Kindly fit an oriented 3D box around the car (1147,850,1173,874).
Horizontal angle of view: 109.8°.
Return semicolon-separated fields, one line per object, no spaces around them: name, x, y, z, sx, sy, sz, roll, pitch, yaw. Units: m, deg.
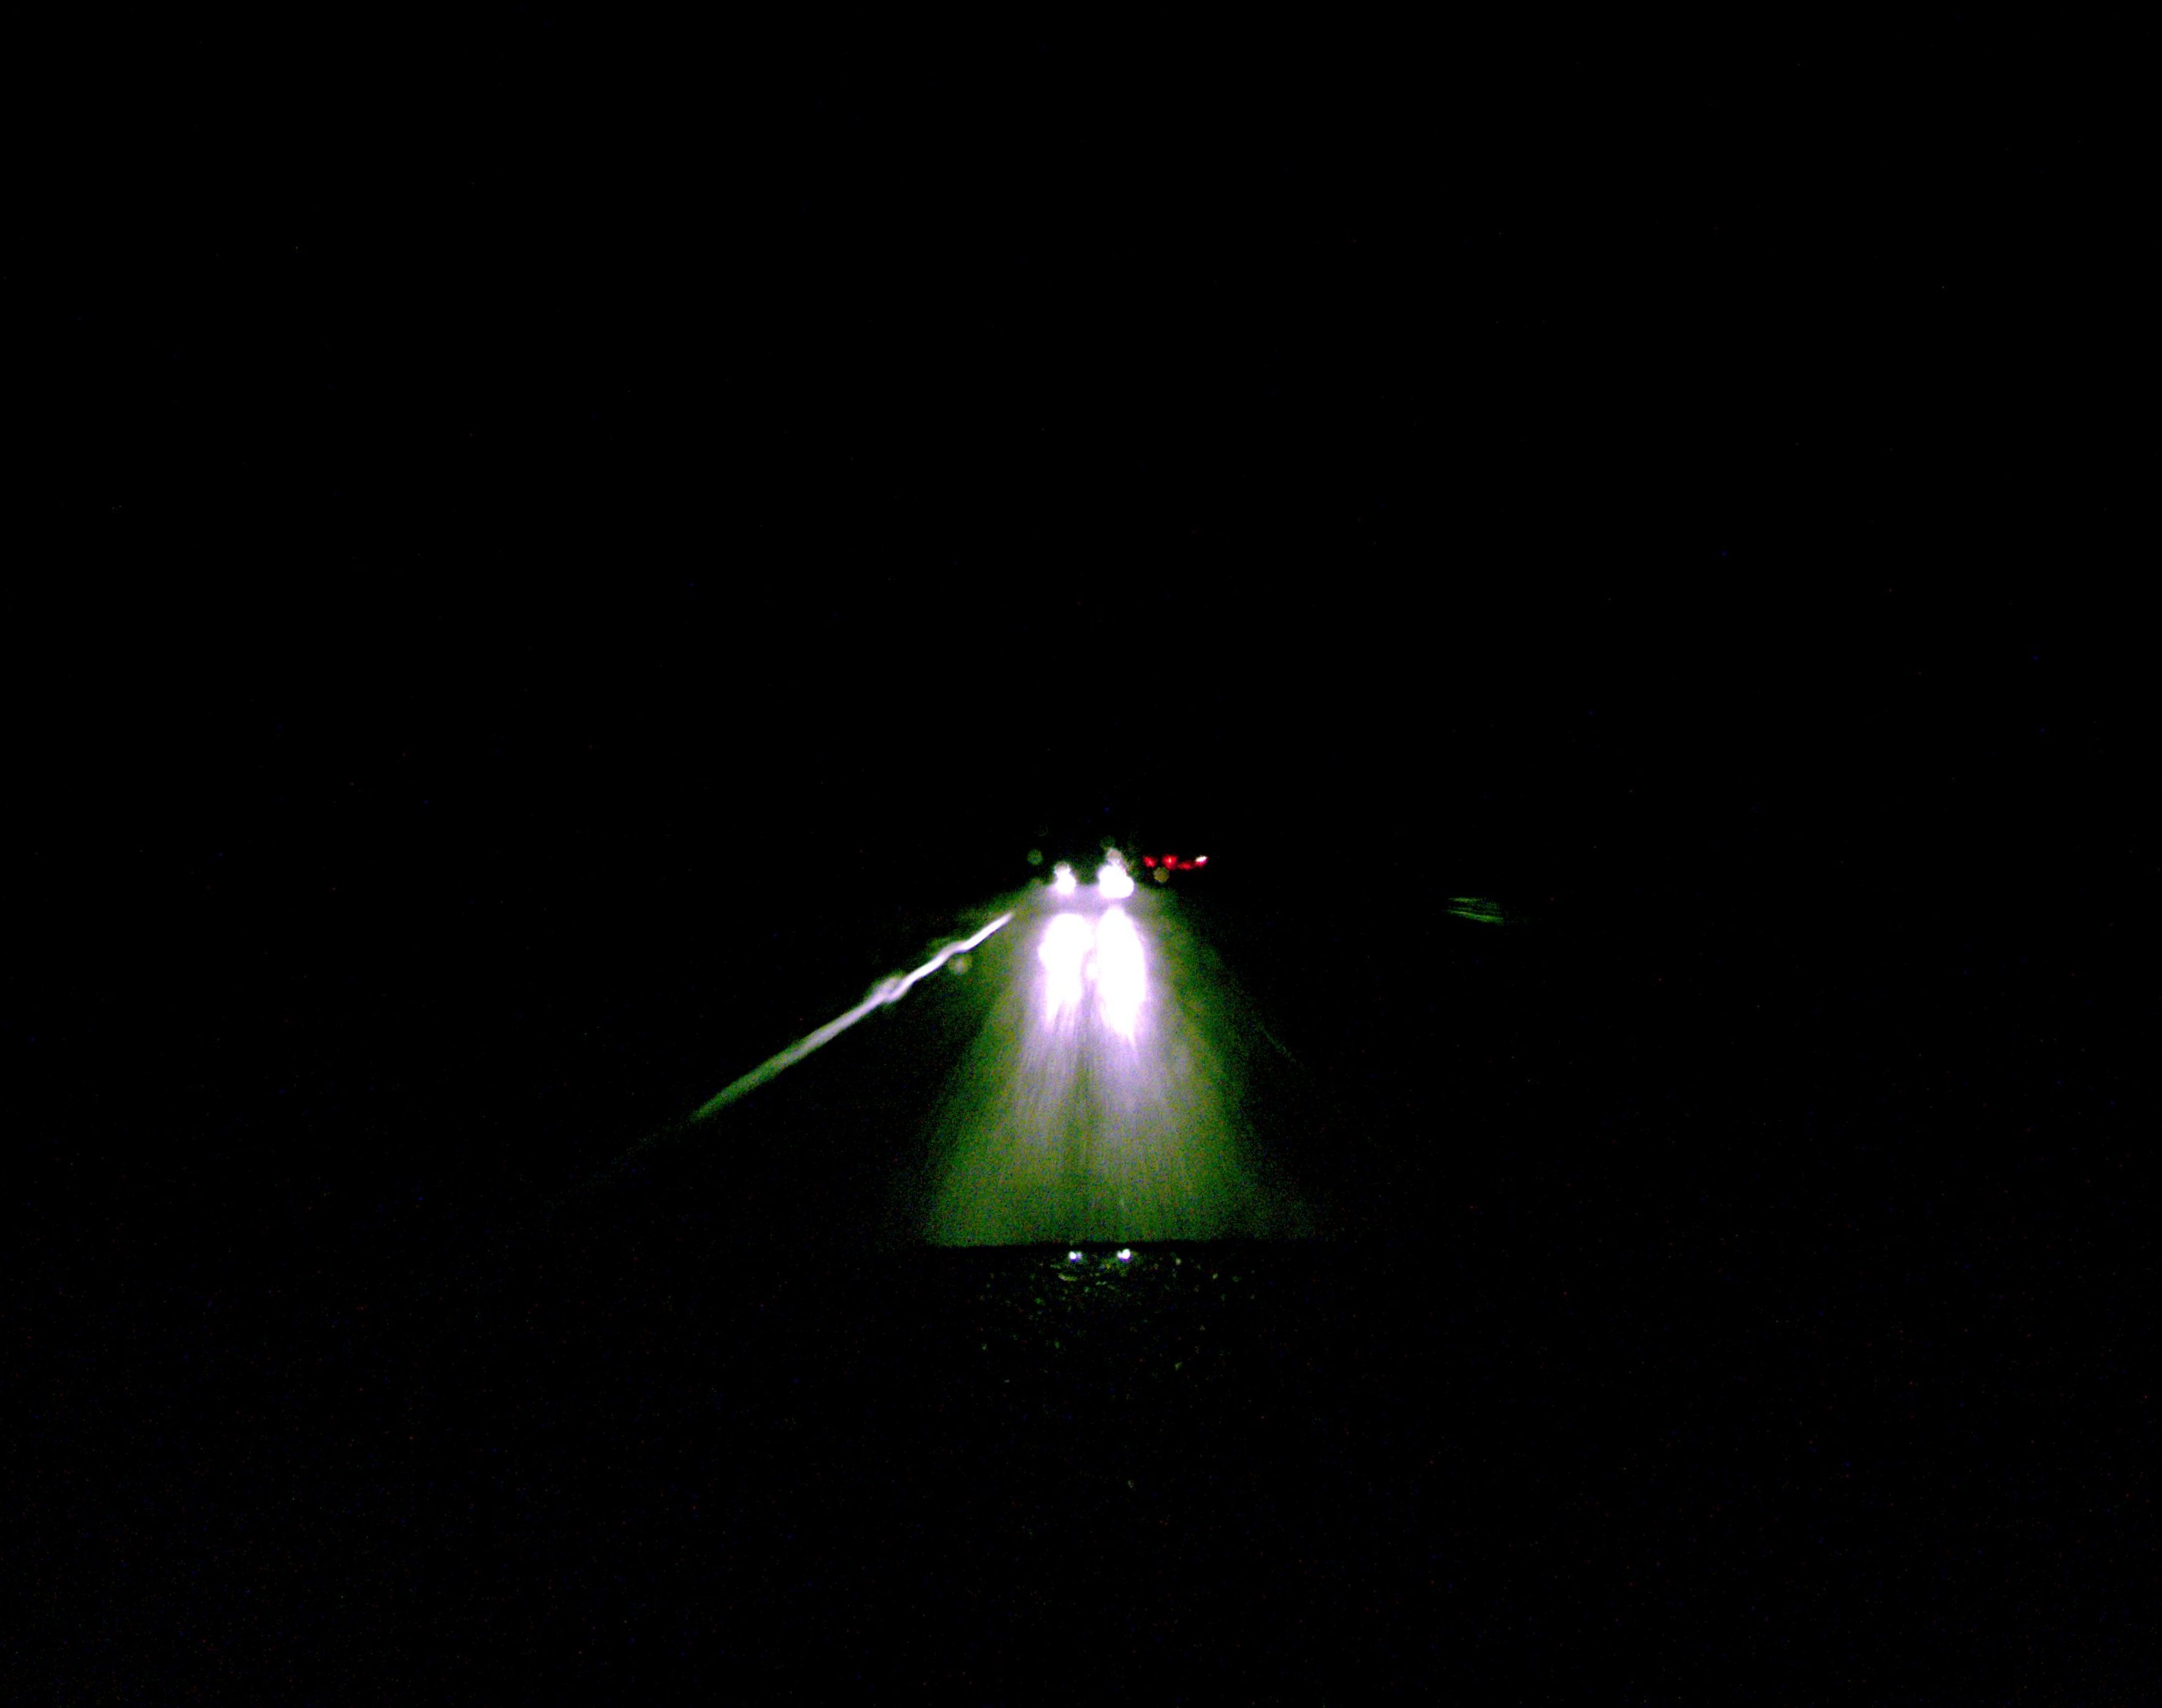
car;6.648;0.670;64.309;1.998;2.002;4.458;0;0;4

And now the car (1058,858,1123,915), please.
car;0.317;0.918;23.146;1.744;1.501;3.600;-3;0;2
